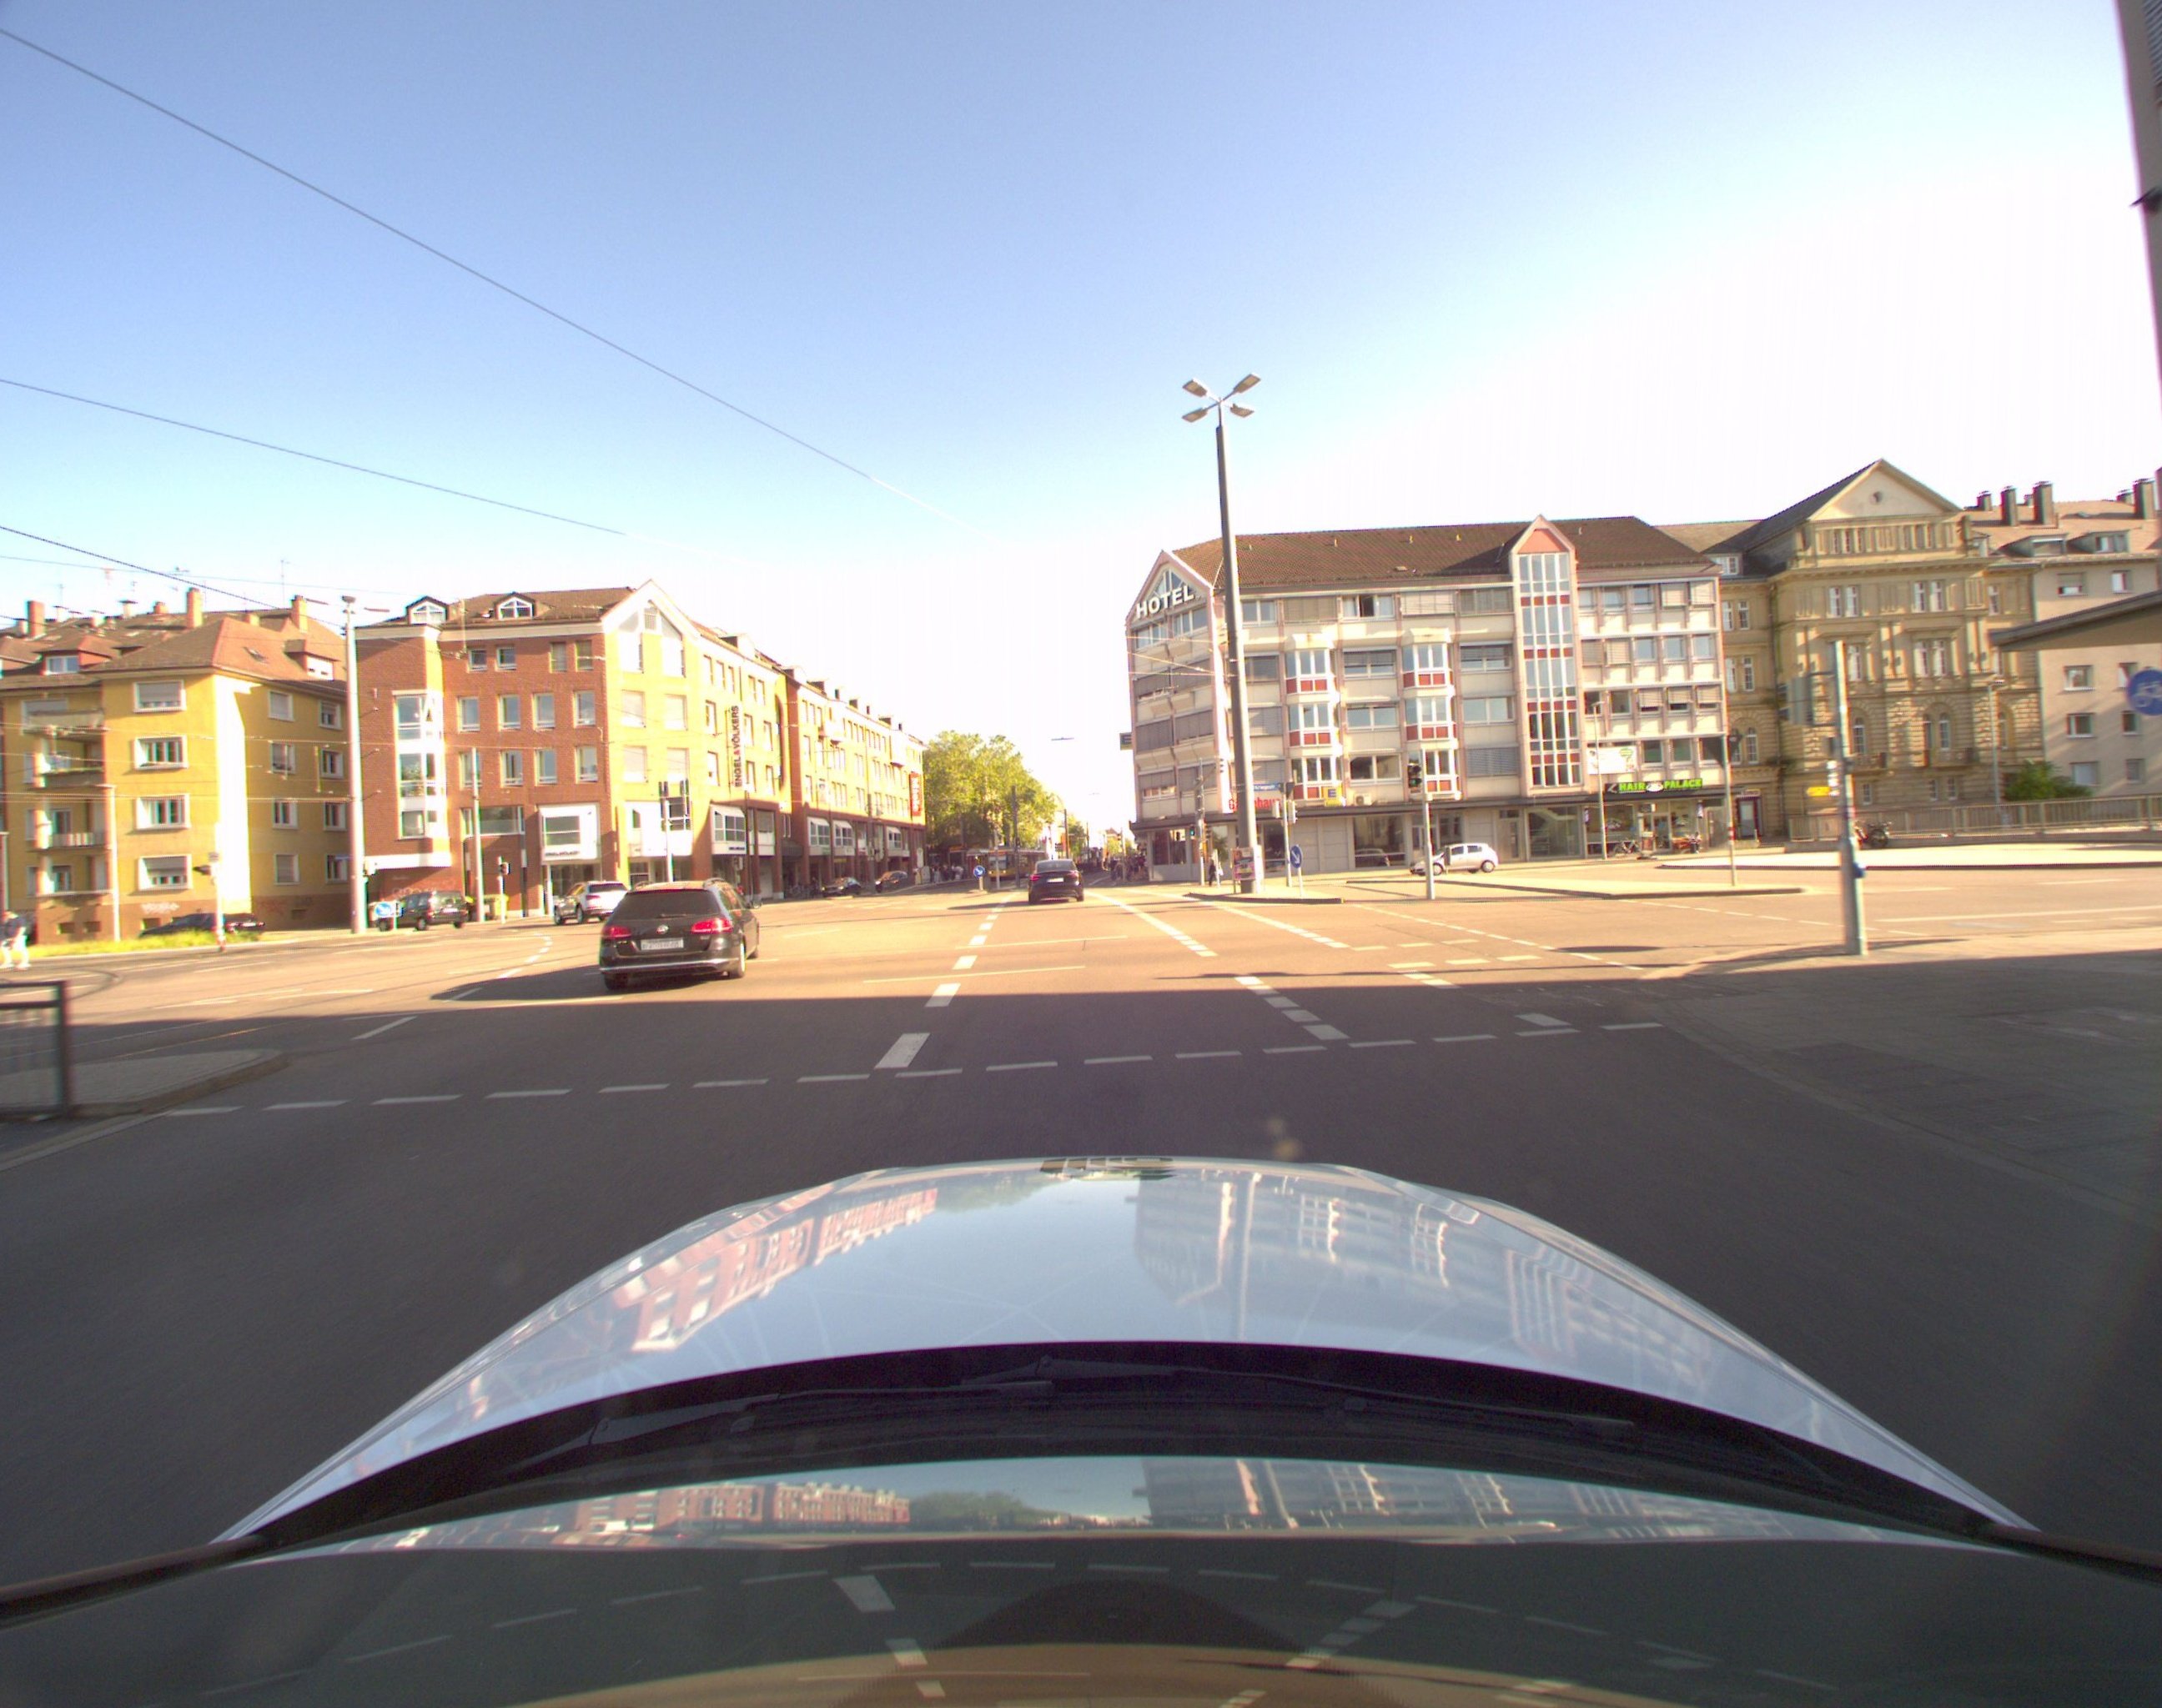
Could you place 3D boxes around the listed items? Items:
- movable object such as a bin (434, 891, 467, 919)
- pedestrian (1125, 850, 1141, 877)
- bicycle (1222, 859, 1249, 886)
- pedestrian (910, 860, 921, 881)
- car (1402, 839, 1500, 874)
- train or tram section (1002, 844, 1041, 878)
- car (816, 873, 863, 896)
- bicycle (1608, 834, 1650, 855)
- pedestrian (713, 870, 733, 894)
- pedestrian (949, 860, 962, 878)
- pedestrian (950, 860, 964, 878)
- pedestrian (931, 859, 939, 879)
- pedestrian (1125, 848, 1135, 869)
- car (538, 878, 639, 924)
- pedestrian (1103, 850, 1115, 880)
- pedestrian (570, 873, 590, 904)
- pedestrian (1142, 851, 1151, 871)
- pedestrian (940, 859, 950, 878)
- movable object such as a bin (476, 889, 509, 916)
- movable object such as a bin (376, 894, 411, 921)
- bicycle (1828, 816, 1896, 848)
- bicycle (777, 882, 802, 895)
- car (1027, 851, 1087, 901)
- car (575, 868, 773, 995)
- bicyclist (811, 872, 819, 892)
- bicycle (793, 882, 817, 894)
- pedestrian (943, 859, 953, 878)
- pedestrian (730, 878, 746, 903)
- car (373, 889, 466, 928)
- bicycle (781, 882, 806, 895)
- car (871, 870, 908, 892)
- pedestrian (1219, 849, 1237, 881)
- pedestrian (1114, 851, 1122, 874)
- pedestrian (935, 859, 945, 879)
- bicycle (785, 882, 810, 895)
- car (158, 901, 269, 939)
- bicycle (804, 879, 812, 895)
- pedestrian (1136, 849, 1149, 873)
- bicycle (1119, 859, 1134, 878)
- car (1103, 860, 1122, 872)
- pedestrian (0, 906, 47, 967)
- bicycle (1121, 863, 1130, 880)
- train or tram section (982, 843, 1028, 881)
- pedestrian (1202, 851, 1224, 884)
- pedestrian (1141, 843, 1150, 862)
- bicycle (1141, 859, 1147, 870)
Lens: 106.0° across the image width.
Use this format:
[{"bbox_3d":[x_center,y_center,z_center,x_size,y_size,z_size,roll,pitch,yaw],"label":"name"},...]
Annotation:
[{"bbox_3d":[-35.630,2.870,46.022,0.993,1.436,1.095,-2,-1,-2],"label":"movable object such as a bin"},{"bbox_3d":[3.448,0.654,54.062,0.910,1.754,0.841,-3,-1,6],"label":"pedestrian"},{"bbox_3d":[7.574,0.899,40.066,0.544,1.285,1.900,-2,-1,-12],"label":"bicycle"},{"bbox_3d":[-12.956,1.292,63.753,0.632,1.564,0.587,-3,-1,8],"label":"pedestrian"},{"bbox_3d":[17.758,0.119,39.216,3.826,1.432,1.804,-3,-2,2],"label":"car"},{"bbox_3d":[-6.649,0.802,92.948,2.701,3.546,10.182,-3,-1,5],"label":"train or tram section"},{"bbox_3d":[-18.126,2.263,61.273,1.807,1.454,3.987,-5,-1,9],"label":"car"},{"bbox_3d":[30.390,-0.531,45.152,1.961,1.049,0.536,-2,-1,-2],"label":"bicycle"},{"bbox_3d":[-25.000,1.962,56.875,0.875,1.568,0.869,-3,-1,29],"label":"pedestrian"},{"bbox_3d":[-11.533,1.353,74.775,0.997,1.624,0.847,-2,-1,-4],"label":"pedestrian"},{"bbox_3d":[-11.520,1.372,75.680,1.103,1.624,0.847,-2,-1,-4],"label":"pedestrian"},{"bbox_3d":[-11.808,1.218,65.776,0.583,1.531,0.635,-2,-1,-10],"label":"pedestrian"},{"bbox_3d":[3.948,0.353,65.046,0.693,1.677,0.751,-3,-1,5],"label":"pedestrian"},{"bbox_3d":[-19.384,1.841,32.065,3.442,1.635,1.856,-3,-1,28],"label":"car"},{"bbox_3d":[1.708,0.649,49.393,0.624,1.782,0.918,-2,-1,1],"label":"pedestrian"},{"bbox_3d":[-28.789,1.986,46.790,0.686,1.727,0.711,-2,-1,-2],"label":"pedestrian"},{"bbox_3d":[5.623,0.591,70.175,0.693,1.677,0.751,-3,-1,5],"label":"pedestrian"},{"bbox_3d":[-12.125,1.300,72.804,0.631,1.721,0.587,-3,-1,13],"label":"pedestrian"},{"bbox_3d":[-33.265,2.740,46.044,0.993,1.436,1.095,-2,-1,-2],"label":"movable object such as a bin"},{"bbox_3d":[-38.899,3.035,46.096,0.993,1.436,1.095,-2,-1,-2],"label":"movable object such as a bin"},{"bbox_3d":[28.758,-0.799,30.026,0.593,1.080,1.996,-2,0,1],"label":"bicycle"},{"bbox_3d":[-22.051,2.640,61.652,1.703,0.900,0.521,-3,-1,3],"label":"bicycle"},{"bbox_3d":[-0.799,0.737,27.800,1.785,1.451,3.937,-4,-1,-1],"label":"car"},{"bbox_3d":[-5.946,0.994,12.474,1.768,1.444,4.505,-3,0,-15],"label":"car"},{"bbox_3d":[-20.151,2.103,61.694,0.483,1.470,0.714,-2,-1,-19],"label":"bicyclist"},{"bbox_3d":[-21.876,2.677,64.512,1.703,0.900,0.521,-3,-1,3],"label":"bicycle"},{"bbox_3d":[-11.966,1.297,73.401,0.631,1.721,0.611,-3,-1,13],"label":"pedestrian"},{"bbox_3d":[-22.591,2.405,53.665,0.708,1.594,0.778,0,-1,5],"label":"pedestrian"},{"bbox_3d":[-30.172,2.488,37.124,3.738,1.618,1.586,-3,-1,21],"label":"car"},{"bbox_3d":[-21.995,2.646,62.408,1.703,0.900,0.521,-3,-1,3],"label":"bicycle"},{"bbox_3d":[-15.204,2.139,64.795,1.810,1.544,3.794,-5,-1,3],"label":"car"},{"bbox_3d":[7.222,0.535,39.943,0.526,1.554,0.864,-2,-1,-12],"label":"pedestrian"},{"bbox_3d":[2.536,0.603,56.423,0.470,1.562,0.545,-2,-1,0],"label":"pedestrian"},{"bbox_3d":[-12.179,1.289,70.486,0.639,1.721,0.580,-2,-1,-27],"label":"pedestrian"},{"bbox_3d":[-21.930,2.654,63.032,1.703,0.900,0.521,-3,-1,3],"label":"bicycle"},{"bbox_3d":[-41.293,3.135,38.814,3.448,1.551,1.732,-3,-1,3],"label":"car"},{"bbox_3d":[-20.607,2.514,61.388,0.492,1.158,1.705,-2,-1,-19],"label":"bicycle"},{"bbox_3d":[4.434,0.530,58.817,0.686,1.688,0.669,-2,-1,-10],"label":"pedestrian"},{"bbox_3d":[2.997,0.957,53.723,0.489,1.161,1.965,-2,-1,-12],"label":"bicycle"},{"bbox_3d":[5.072,1.938,130.819,1.721,1.664,3.731,-3,-1,26],"label":"car"},{"bbox_3d":[-31.384,2.422,23.946,0.693,1.710,0.930,-2,-1,1],"label":"pedestrian"},{"bbox_3d":[3.052,1.186,55.953,0.486,1.102,2.125,-2,-1,2],"label":"bicycle"},{"bbox_3d":[-7.551,0.786,82.831,2.716,3.542,10.100,-3,-1,5],"label":"train or tram section"},{"bbox_3d":[6.377,0.642,39.316,0.779,1.576,0.865,-2,1,-8],"label":"pedestrian"},{"bbox_3d":[5.859,-0.130,73.812,0.744,1.677,0.700,-3,-1,5],"label":"pedestrian"},{"bbox_3d":[4.895,0.793,63.466,0.412,0.857,1.239,-3,-1,7],"label":"bicycle"}]
